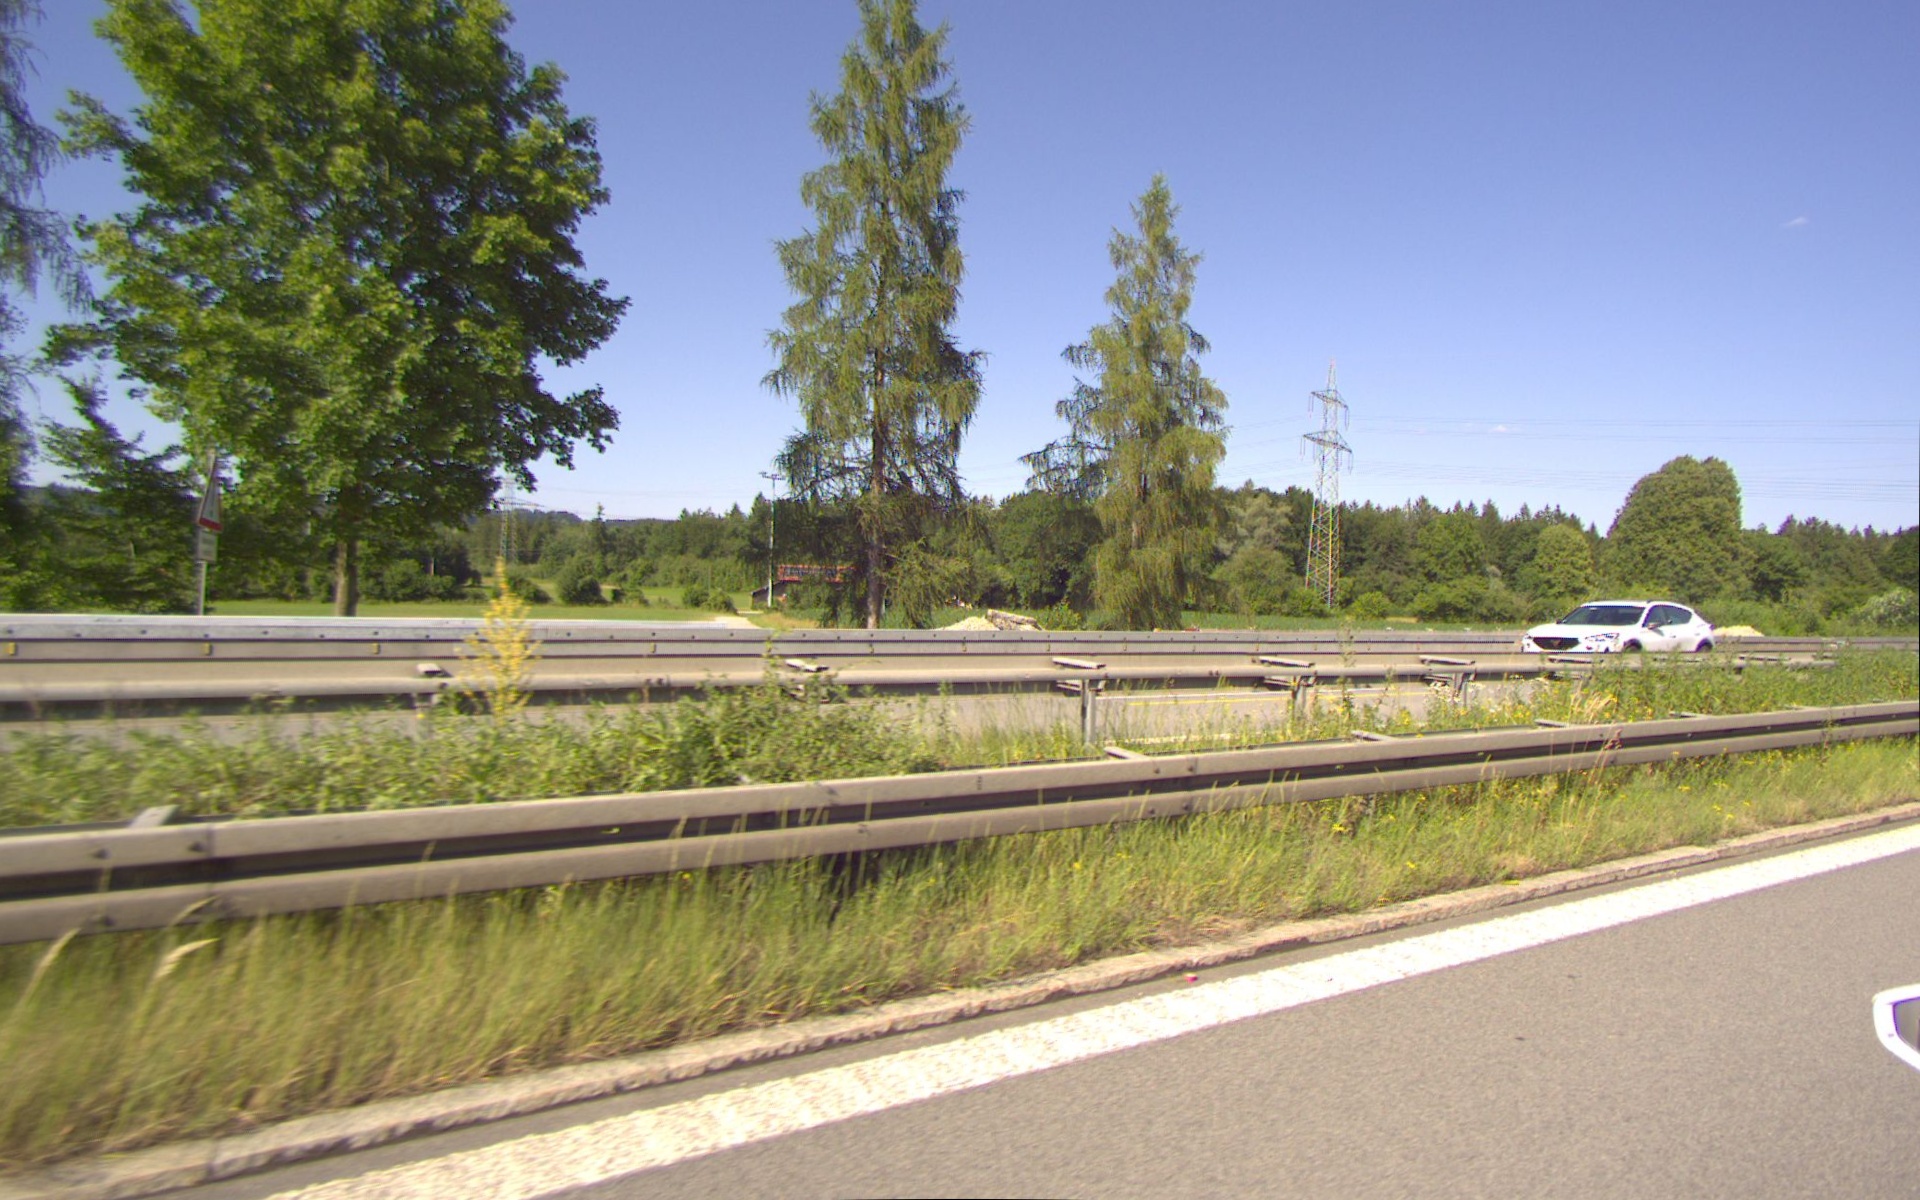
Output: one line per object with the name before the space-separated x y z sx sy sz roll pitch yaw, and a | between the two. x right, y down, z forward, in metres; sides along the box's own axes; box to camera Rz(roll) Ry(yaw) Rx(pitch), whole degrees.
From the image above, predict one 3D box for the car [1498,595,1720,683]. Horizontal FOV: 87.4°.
car | 12.468 0.739 19.240 4.482 1.532 1.751 2 -1 -31
